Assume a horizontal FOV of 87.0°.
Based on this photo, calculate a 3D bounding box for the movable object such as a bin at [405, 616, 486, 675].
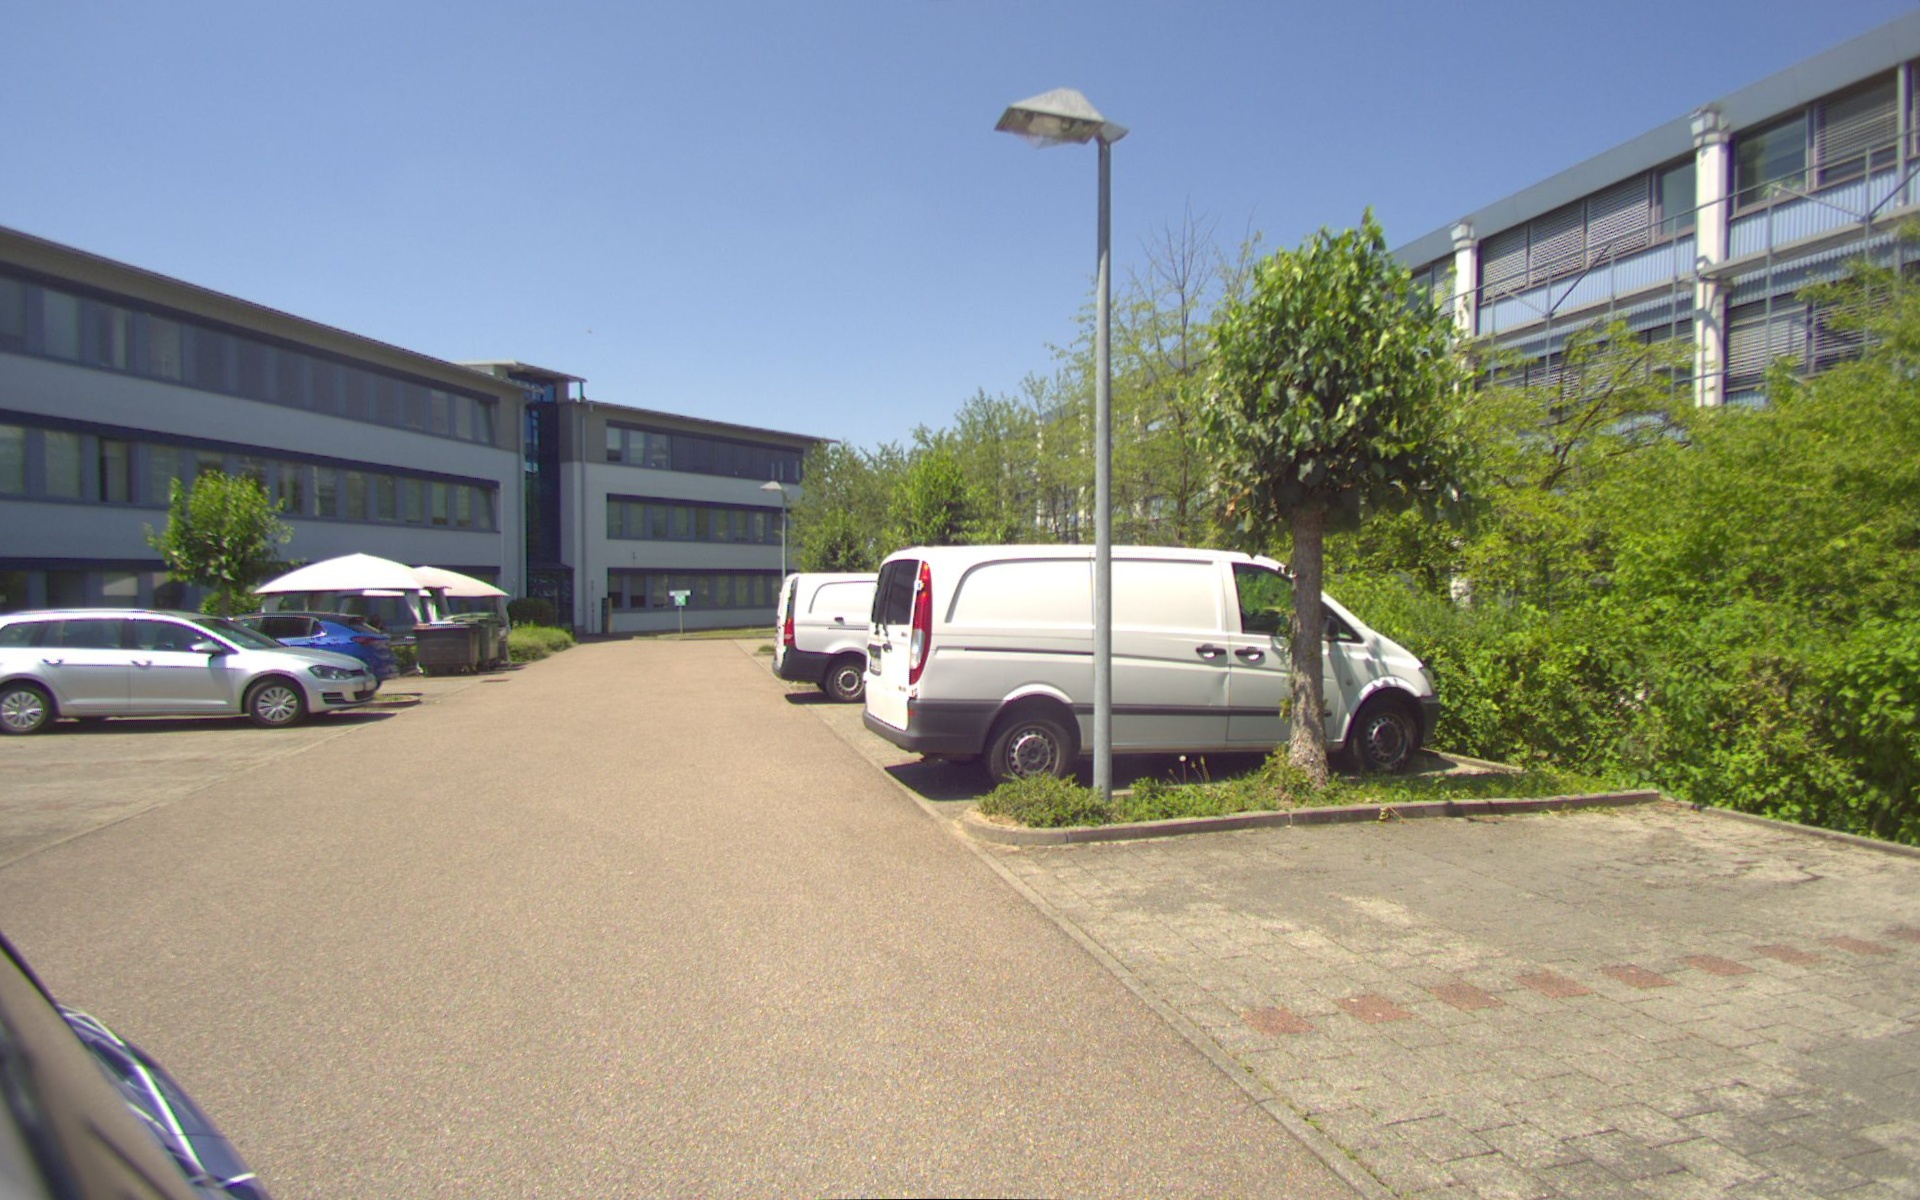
[{"bbox_3d":[-11.138,0.972,21.958,1.342,1.198,0.999,-1,0,-10],"label":"movable object such as a bin"}]

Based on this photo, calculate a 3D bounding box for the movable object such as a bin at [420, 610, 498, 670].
[{"bbox_3d":[-11.360,0.897,23.012,1.342,1.306,1.045,-1,0,-10],"label":"movable object such as a bin"}]

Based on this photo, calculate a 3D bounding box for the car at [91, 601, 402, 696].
[{"bbox_3d":[-11.313,0.749,16.332,3.762,1.402,1.657,1,0,-16],"label":"car"}]

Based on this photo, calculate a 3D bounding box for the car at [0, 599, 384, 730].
[{"bbox_3d":[-10.104,0.757,12.950,4.443,1.508,1.835,0,0,-16],"label":"car"}]

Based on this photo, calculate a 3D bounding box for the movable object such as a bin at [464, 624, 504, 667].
[{"bbox_3d":[-11.258,1.071,23.963,0.680,0.956,0.724,-1,0,-10],"label":"movable object such as a bin"}]

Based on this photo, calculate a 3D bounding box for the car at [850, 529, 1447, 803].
[{"bbox_3d":[1.542,0.435,8.636,4.655,1.920,1.835,-1,0,-16],"label":"car"}]

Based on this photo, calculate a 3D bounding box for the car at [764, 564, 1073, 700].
[{"bbox_3d":[-0.682,0.425,15.639,4.443,1.896,1.835,-1,0,-16],"label":"car"}]

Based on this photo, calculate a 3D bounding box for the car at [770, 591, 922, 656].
[{"bbox_3d":[-2.993,0.582,26.397,3.701,1.569,1.666,-1,0,-16],"label":"car"}]
